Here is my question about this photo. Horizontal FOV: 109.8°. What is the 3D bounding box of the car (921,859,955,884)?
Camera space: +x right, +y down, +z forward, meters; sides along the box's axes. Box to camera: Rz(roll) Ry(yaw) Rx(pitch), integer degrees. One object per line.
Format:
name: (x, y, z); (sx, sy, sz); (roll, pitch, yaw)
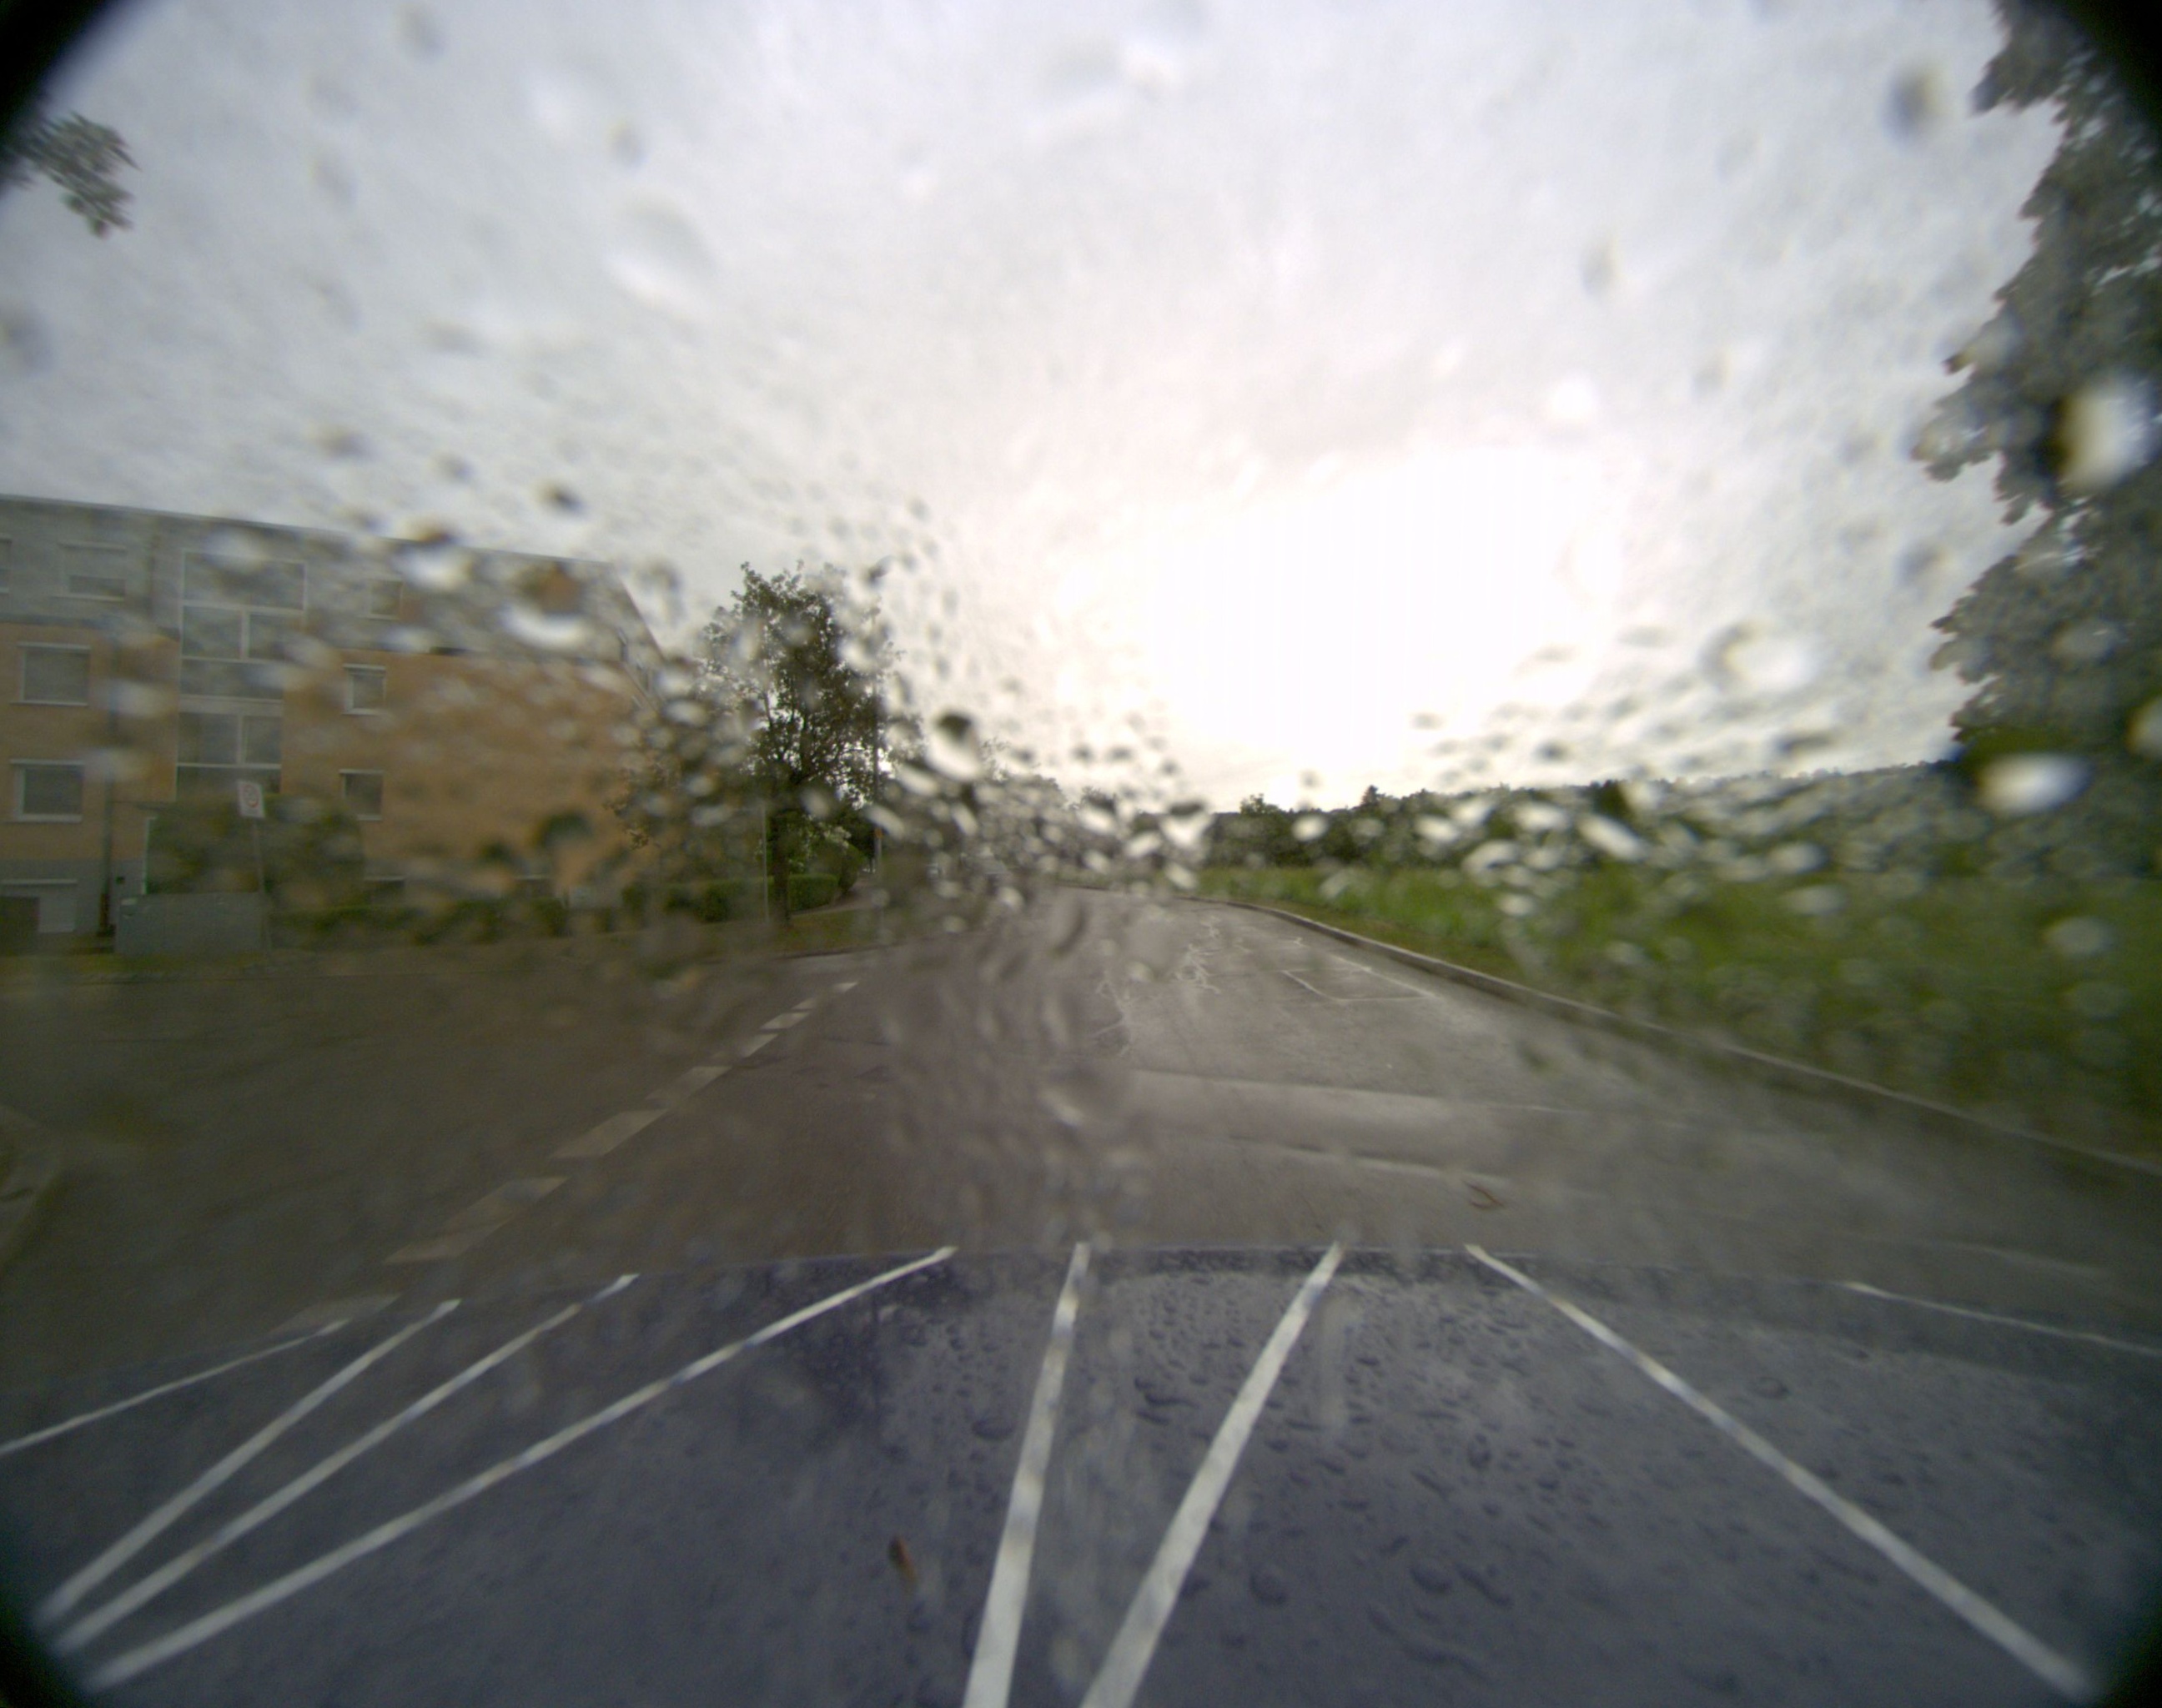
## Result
car: (-11.002, 1.315, 58.228); (1.827, 1.775, 3.812); (-1, 1, -22)

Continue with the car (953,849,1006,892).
car: (-5.951, 0.932, 43.921); (2.056, 2.317, 5.399); (-1, 0, -18)

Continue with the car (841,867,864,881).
car: (-31.586, 2.721, 105.128); (1.980, 1.838, 3.990); (-1, 1, -34)

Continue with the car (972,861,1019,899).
car: (-4.350, 1.241, 38.120); (1.818, 1.717, 4.646); (-1, 0, -13)
